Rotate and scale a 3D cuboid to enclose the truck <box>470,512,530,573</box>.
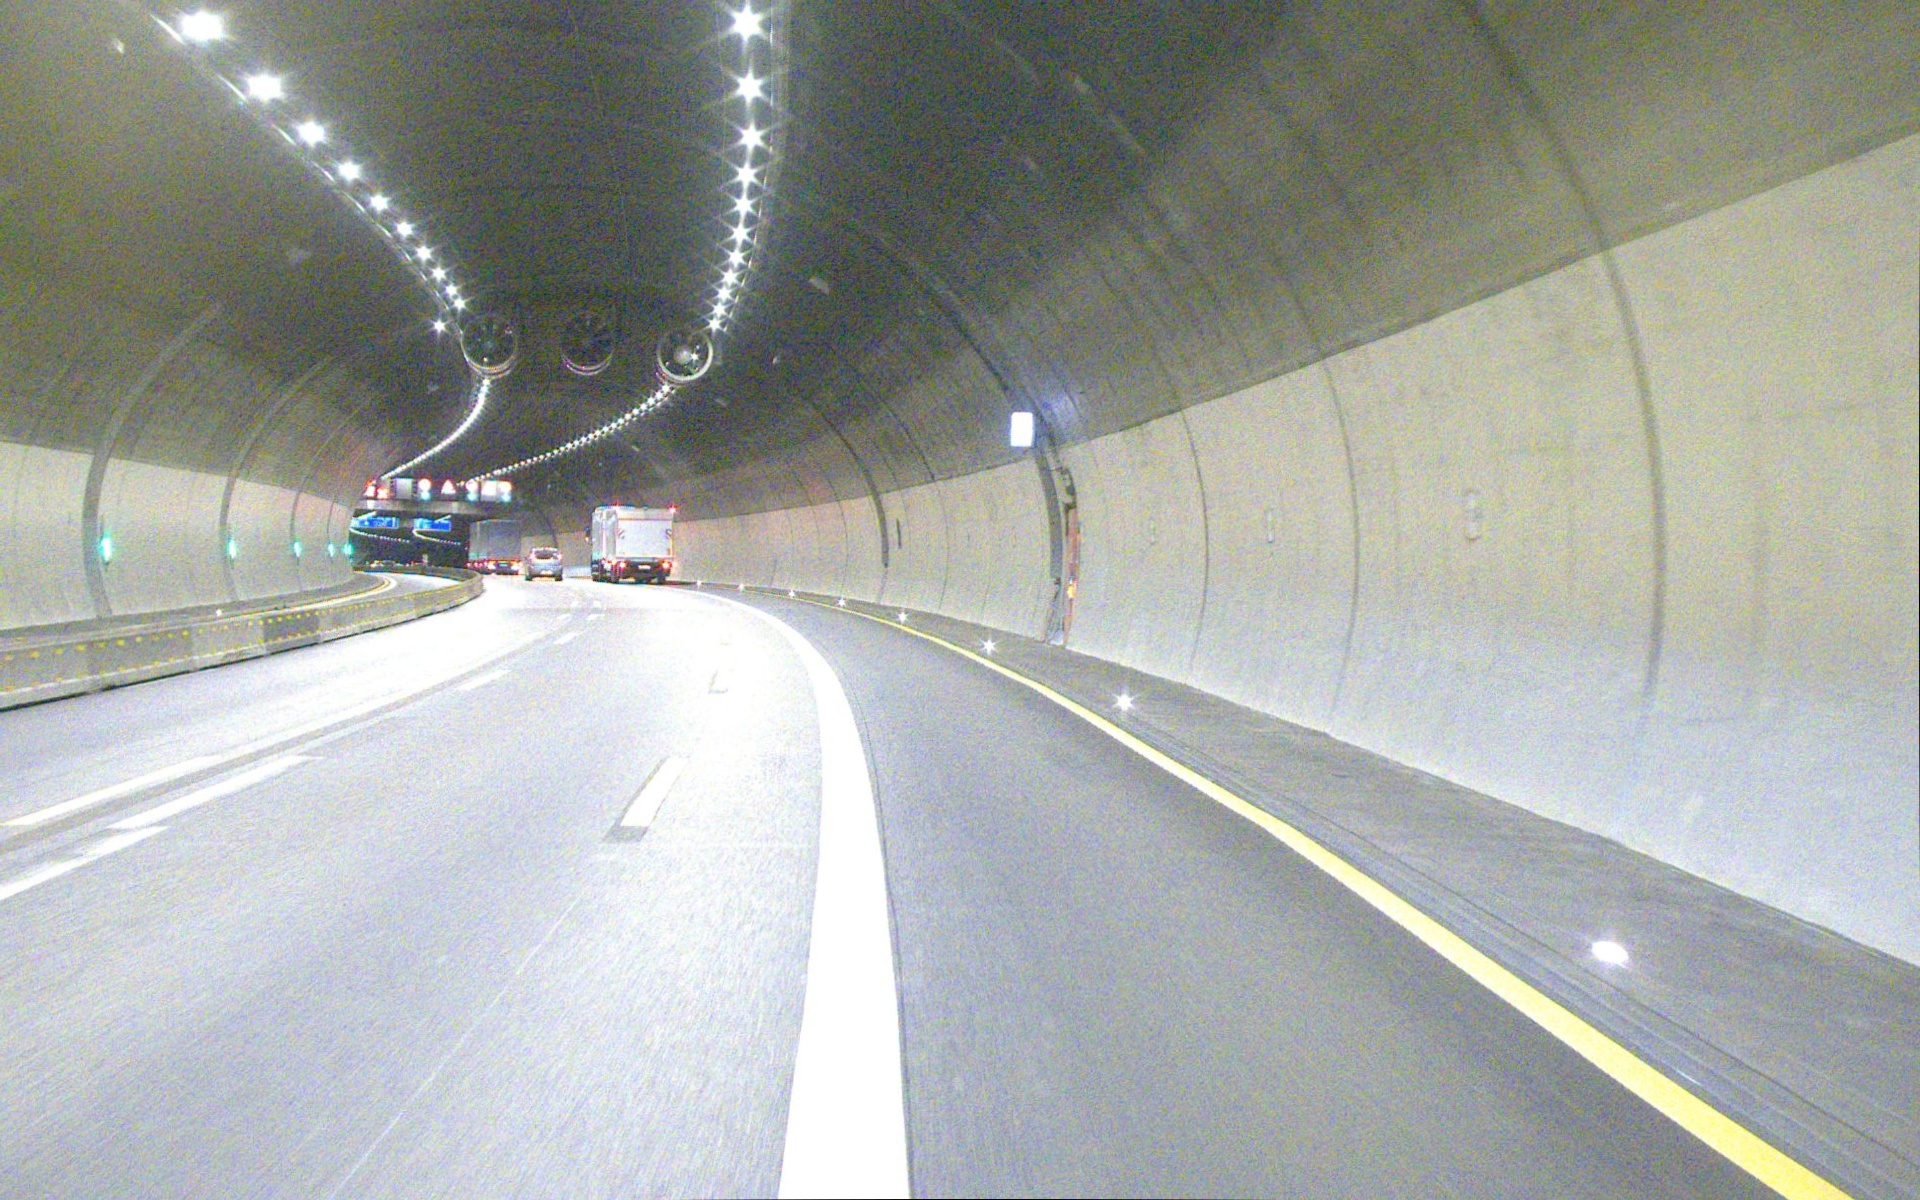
[{"bbox_3d":[-34.166,-4.253,254.969,3.473,4.301,10.955,1,1,-12],"label":"truck"}]

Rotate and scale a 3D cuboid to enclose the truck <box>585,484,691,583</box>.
[{"bbox_3d":[-14.846,-3.050,157.729,3.473,4.301,10.955,2,1,-12],"label":"truck"}]

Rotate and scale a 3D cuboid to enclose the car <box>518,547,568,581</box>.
[{"bbox_3d":[-20.470,-1.781,168.692,1.993,1.576,4.001,2,1,-13],"label":"car"}]
